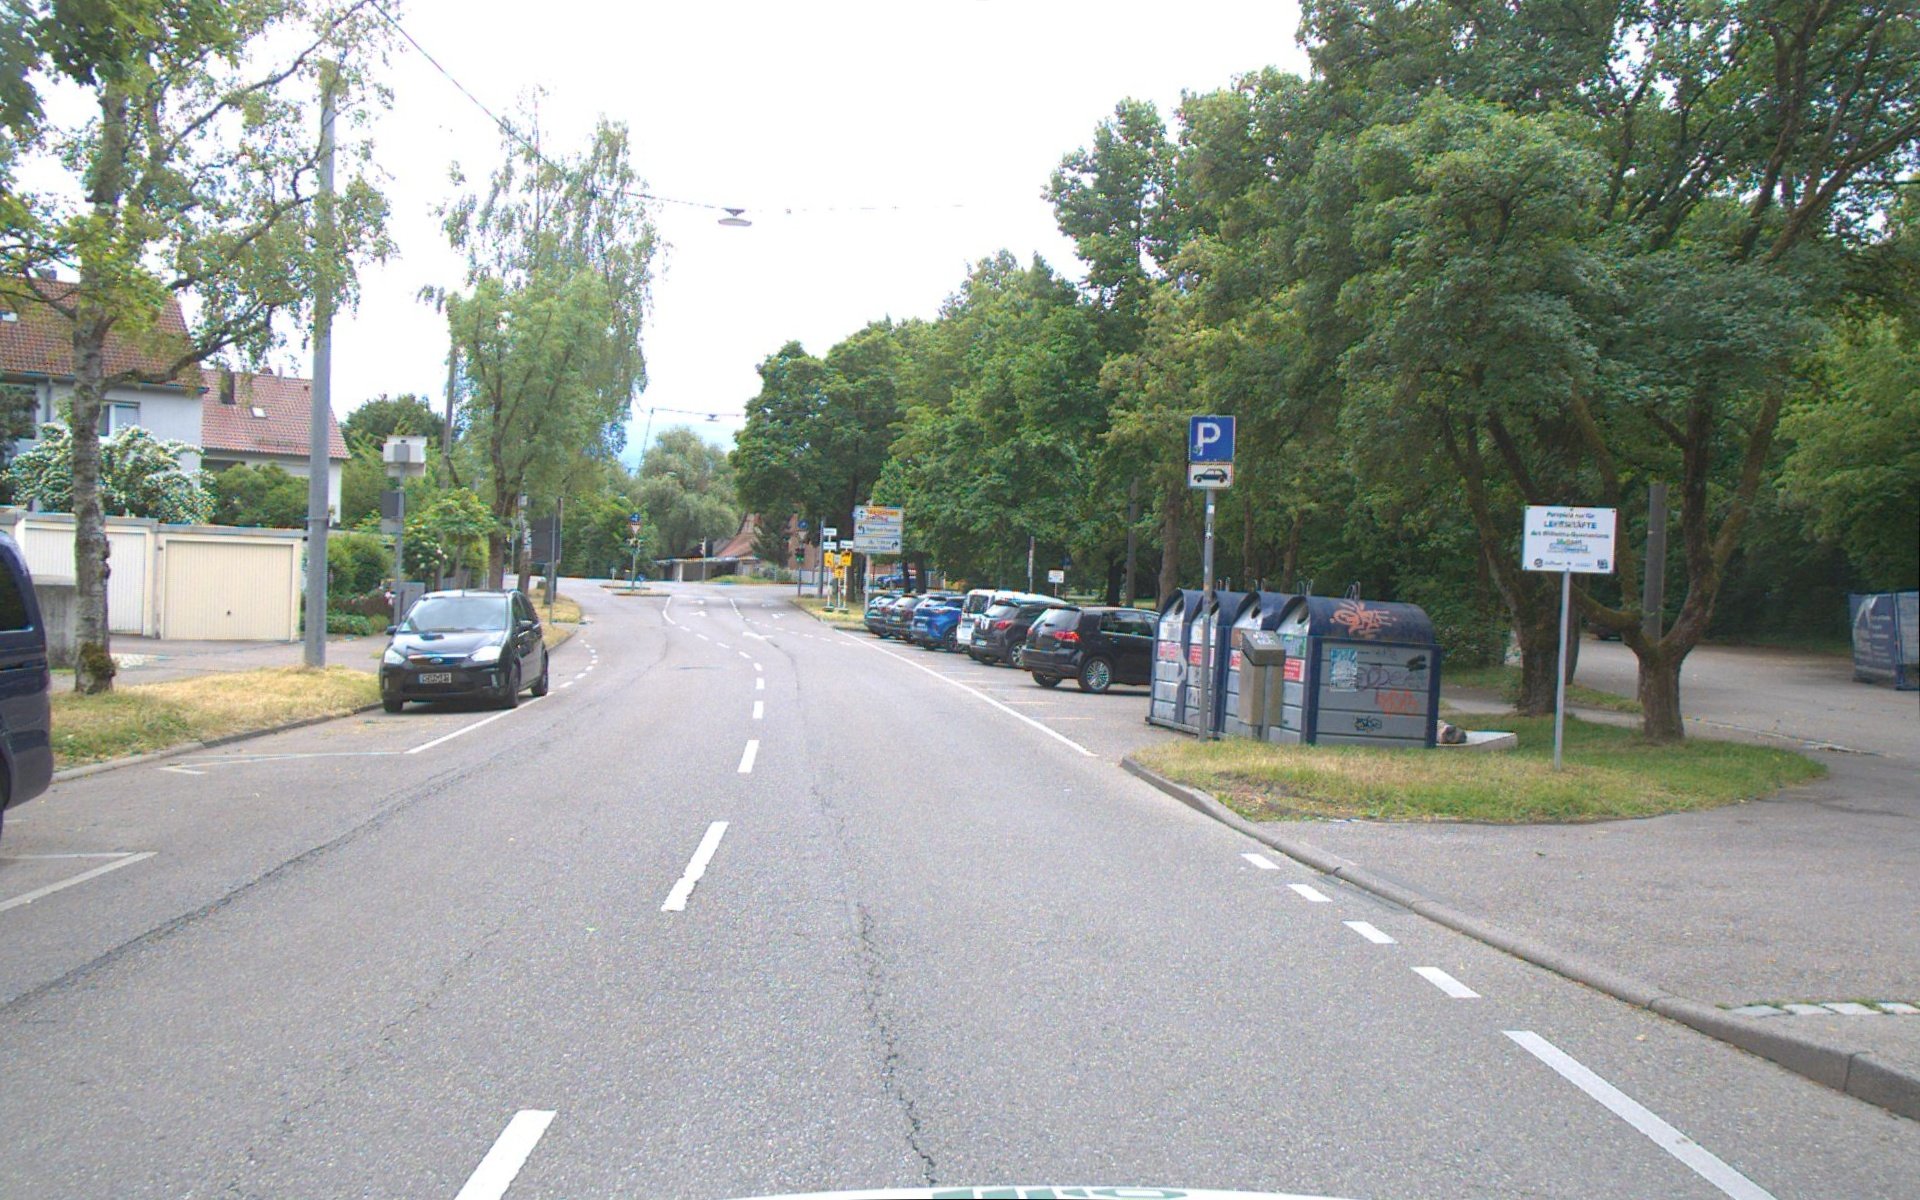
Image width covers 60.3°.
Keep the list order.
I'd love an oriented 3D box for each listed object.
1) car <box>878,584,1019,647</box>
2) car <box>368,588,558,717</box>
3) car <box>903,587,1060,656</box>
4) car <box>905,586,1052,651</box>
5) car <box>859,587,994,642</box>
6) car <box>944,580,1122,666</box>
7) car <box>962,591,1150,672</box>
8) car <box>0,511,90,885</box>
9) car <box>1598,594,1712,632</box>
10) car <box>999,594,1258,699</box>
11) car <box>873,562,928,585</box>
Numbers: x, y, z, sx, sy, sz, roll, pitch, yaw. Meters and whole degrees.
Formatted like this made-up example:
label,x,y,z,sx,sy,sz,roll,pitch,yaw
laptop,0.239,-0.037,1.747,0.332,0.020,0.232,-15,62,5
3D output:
label,x,y,z,sx,sy,sz,roll,pitch,yaw
car,-0.342,0.465,49.144,3.774,1.555,1.731,5,-1,-28
car,-6.832,0.656,23.171,1.770,1.590,4.261,-2,0,-6
car,0.582,0.568,44.314,3.774,1.555,1.731,5,-1,-28
car,0.525,0.539,47.261,3.774,1.555,1.731,5,-1,-28
car,-1.061,0.453,52.262,3.828,1.451,1.814,5,-1,-28
car,1.747,0.549,39.669,3.774,1.750,1.862,5,-1,-28
car,2.144,0.708,36.936,3.774,1.493,1.731,5,0,-28
car,-5.818,0.497,6.886,1.820,1.942,5.081,1,0,-2
car,28.444,0.539,67.736,3.907,1.434,1.799,1,0,-3
car,2.918,0.801,28.659,3.941,1.438,2.040,5,1,-28
car,-4.657,-2.110,129.766,3.803,1.676,1.981,1,1,-30
